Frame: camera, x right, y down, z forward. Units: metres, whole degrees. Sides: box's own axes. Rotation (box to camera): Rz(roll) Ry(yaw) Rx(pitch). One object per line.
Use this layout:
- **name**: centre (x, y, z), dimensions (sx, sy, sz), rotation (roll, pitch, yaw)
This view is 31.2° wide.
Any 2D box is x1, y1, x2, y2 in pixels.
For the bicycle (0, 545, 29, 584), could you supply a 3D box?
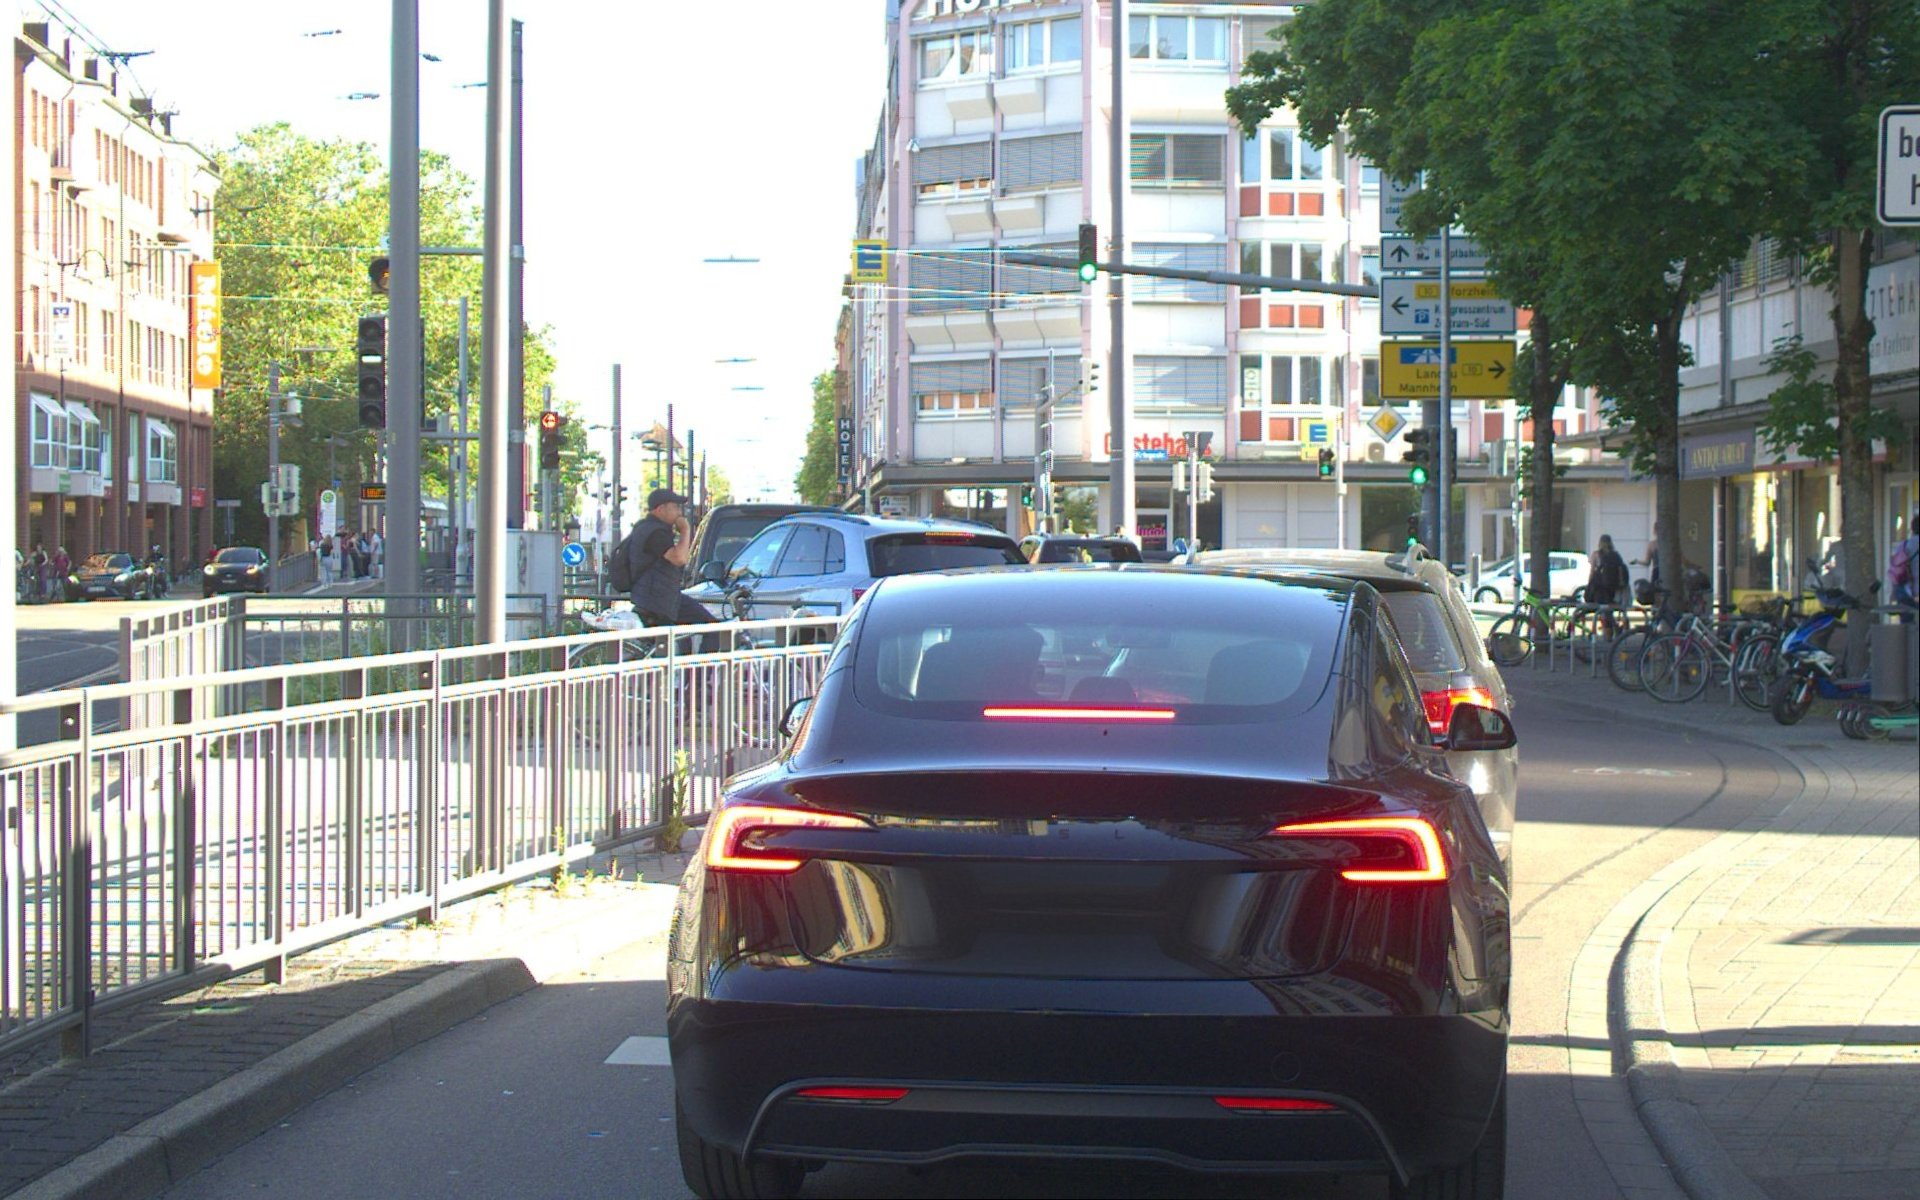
- **bicycle**: centre (-27.228, -1.011, 98.231), dimensions (0.529, 1.085, 2.284), rotation (4, 0, 1)

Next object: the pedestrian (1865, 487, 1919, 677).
- **pedestrian**: centre (10.063, -0.194, 36.638), dimensions (0.662, 2.007, 0.579), rotation (1, 0, 2)

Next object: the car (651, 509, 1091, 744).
- **car**: centre (-0.781, 0.162, 26.502), dimensions (1.883, 1.656, 4.159), rotation (1, 1, -25)

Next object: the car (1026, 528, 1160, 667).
- **car**: centre (1.751, -0.050, 46.218), dimensions (1.598, 1.772, 3.981), rotation (1, 1, 0)

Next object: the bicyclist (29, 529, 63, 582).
- **bicyclist**: centre (-27.044, -1.310, 101.704), dimensions (0.784, 1.558, 0.746), rotation (0, 1, 2)

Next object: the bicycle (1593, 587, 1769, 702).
- **bicycle**: centre (7.003, 0.434, 33.404), dimensions (1.649, 1.095, 0.350), rotation (1, 0, -10)

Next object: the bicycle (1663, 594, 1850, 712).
- **bicycle**: centre (7.289, 0.485, 31.453), dimensions (1.649, 1.057, 0.350), rotation (1, 0, -10)

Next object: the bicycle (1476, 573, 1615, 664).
- **bicycle**: centre (7.235, 0.221, 42.484), dimensions (1.650, 1.095, 0.350), rotation (1, 0, 1)

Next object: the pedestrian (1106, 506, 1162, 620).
- **pedestrian**: centre (3.095, -0.659, 61.201), dimensions (0.921, 2.007, 0.972), rotation (1, 0, -1)

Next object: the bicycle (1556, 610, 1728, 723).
- **bicycle**: centre (6.800, 0.662, 34.265), dimensions (1.649, 1.095, 0.350), rotation (1, 0, -10)

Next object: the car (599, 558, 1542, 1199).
- **car**: centre (0.358, 0.639, 8.723), dimensions (1.829, 1.450, 3.999), rotation (1, 1, 4)

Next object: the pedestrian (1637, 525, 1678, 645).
- **pedestrian**: centre (9.989, -0.215, 49.215), dimensions (0.526, 1.704, 0.403), rotation (1, 0, 8)

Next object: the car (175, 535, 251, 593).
- **car**: centre (-23.010, -1.104, 106.002), dimensions (1.697, 1.725, 3.707), rotation (1, 1, -3)

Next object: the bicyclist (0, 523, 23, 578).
- **bicyclist**: centre (-27.273, -1.419, 98.217), dimensions (0.784, 1.558, 0.746), rotation (0, 1, 2)

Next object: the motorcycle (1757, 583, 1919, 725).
- **motorcycle**: centre (7.716, 0.458, 29.268), dimensions (1.707, 1.169, 0.541), rotation (1, 0, -2)

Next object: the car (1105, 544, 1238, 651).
- **car**: centre (3.307, -0.051, 54.341), dimensions (1.820, 1.609, 3.827), rotation (1, 1, 0)

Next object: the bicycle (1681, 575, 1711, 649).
- **bicycle**: centre (10.439, 0.157, 48.754), dimensions (0.332, 1.030, 1.256), rotation (1, 0, 9)

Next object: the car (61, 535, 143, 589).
- **car**: centre (-25.237, -1.119, 101.251), dimensions (1.710, 1.521, 4.037), rotation (1, 1, -5)

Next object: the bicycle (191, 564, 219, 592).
- **bicycle**: centre (-29.510, -0.875, 134.383), dimensions (0.529, 1.085, 2.224), rotation (1, 1, 1)

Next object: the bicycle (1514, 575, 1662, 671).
- **bicycle**: centre (7.365, 0.269, 40.344), dimensions (1.650, 1.095, 0.350), rotation (1, 0, 1)

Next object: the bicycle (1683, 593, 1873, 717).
- **bicycle**: centre (7.386, 0.497, 31.031), dimensions (1.649, 1.095, 0.350), rotation (1, 0, -10)

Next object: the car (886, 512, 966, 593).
- **car**: centre (-0.758, -1.044, 76.601), dimensions (1.719, 1.745, 3.754), rotation (1, 1, -1)

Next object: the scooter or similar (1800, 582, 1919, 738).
- **scooter or similar**: centre (7.560, 0.473, 27.193), dimensions (1.644, 1.211, 0.644), rotation (1, 0, 30)

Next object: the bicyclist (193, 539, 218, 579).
- **bicyclist**: centre (-29.492, -1.607, 134.465), dimensions (0.784, 1.558, 0.746), rotation (1, 0, 2)

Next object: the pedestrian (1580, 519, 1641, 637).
- **pedestrian**: centre (9.270, -0.312, 49.012), dimensions (0.699, 1.656, 0.777), rotation (1, 0, -1)

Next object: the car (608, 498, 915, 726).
- **car**: centre (-1.952, 0.078, 32.516), dimensions (1.993, 2.007, 4.001), rotation (0, 1, -17)

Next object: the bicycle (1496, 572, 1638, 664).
- **bicycle**: centre (7.302, 0.212, 41.390), dimensions (1.650, 1.095, 0.350), rotation (0, 1, 1)

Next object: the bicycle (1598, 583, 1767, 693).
- **bicycle**: centre (7.421, 0.390, 35.352), dimensions (1.650, 1.095, 0.350), rotation (1, 0, 1)

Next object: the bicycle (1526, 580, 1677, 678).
- **bicycle**: centre (7.333, 0.330, 39.332), dimensions (1.650, 1.095, 0.350), rotation (1, 0, 1)

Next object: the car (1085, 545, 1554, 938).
- **car**: centre (1.563, 0.500, 15.043), dimensions (1.751, 1.449, 3.999), rotation (1, 1, 6)

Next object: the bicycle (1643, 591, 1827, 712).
- **bicycle**: centre (7.184, 0.477, 31.877), dimensions (1.649, 1.095, 0.350), rotation (1, 0, -10)

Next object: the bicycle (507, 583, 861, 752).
- **bicycle**: centre (-1.782, 0.425, 22.471), dimensions (2.329, 1.050, 0.631), rotation (0, 1, -38)

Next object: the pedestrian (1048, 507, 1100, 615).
- **pedestrian**: centre (2.142, -0.740, 64.820), dimensions (0.921, 2.007, 0.972), rotation (1, 0, -1)

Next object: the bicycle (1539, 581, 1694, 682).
- **bicycle**: centre (7.313, 0.343, 38.305), dimensions (1.650, 1.095, 0.350), rotation (1, 0, 1)

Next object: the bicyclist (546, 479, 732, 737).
- **bicyclist**: centre (-2.080, 0.042, 22.227), dimensions (0.758, 1.623, 0.978), rotation (0, 1, -39)

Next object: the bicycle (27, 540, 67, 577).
- **bicycle**: centre (-27.122, -1.233, 102.170), dimensions (0.529, 1.085, 2.284), rotation (1, 1, 1)
